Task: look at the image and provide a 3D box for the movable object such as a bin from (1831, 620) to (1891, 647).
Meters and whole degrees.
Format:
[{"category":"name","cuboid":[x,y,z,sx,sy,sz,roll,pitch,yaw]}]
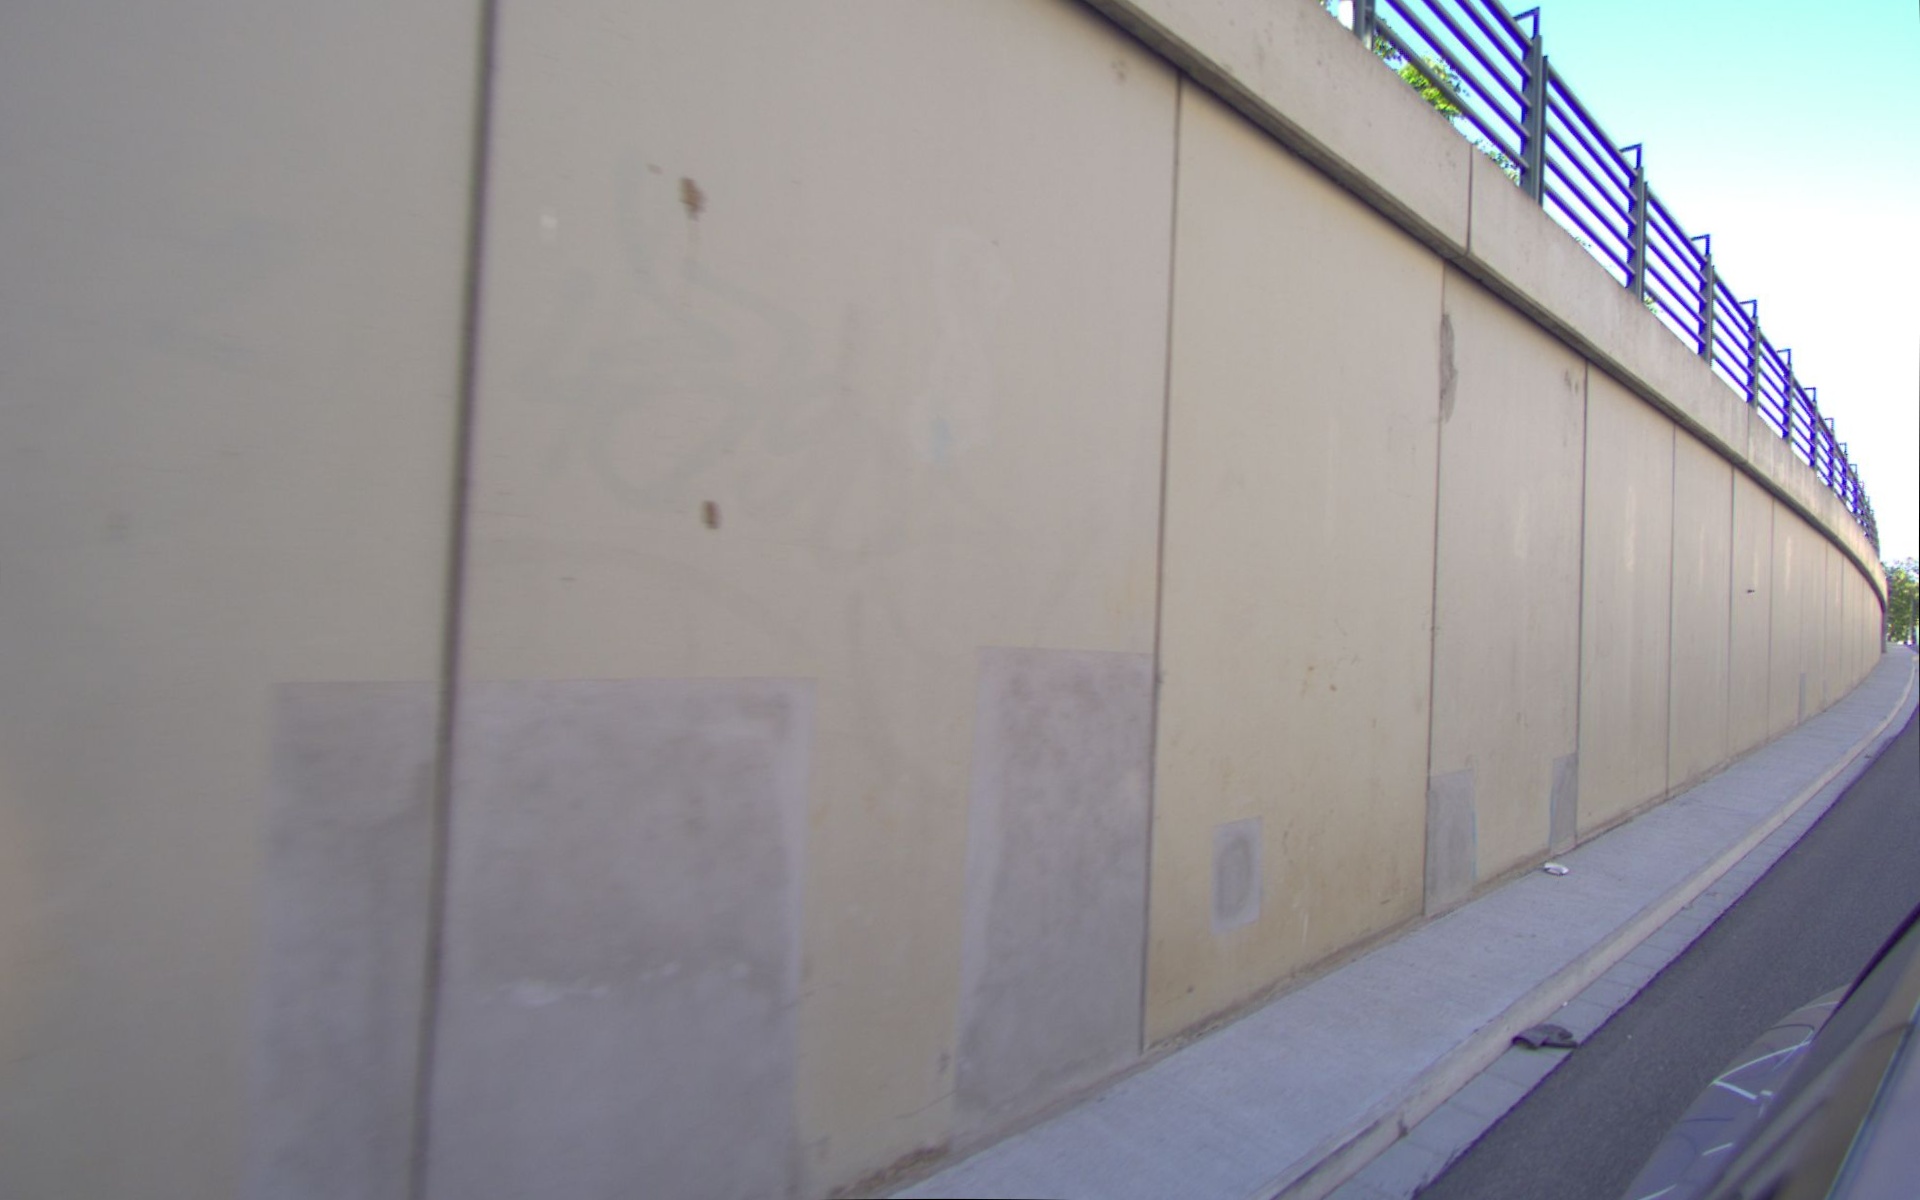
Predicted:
[{"category":"movable object such as a bin","cuboid":[75.432,2.801,84.772,3.208,2.103,2.093,3,-1,23]}]
